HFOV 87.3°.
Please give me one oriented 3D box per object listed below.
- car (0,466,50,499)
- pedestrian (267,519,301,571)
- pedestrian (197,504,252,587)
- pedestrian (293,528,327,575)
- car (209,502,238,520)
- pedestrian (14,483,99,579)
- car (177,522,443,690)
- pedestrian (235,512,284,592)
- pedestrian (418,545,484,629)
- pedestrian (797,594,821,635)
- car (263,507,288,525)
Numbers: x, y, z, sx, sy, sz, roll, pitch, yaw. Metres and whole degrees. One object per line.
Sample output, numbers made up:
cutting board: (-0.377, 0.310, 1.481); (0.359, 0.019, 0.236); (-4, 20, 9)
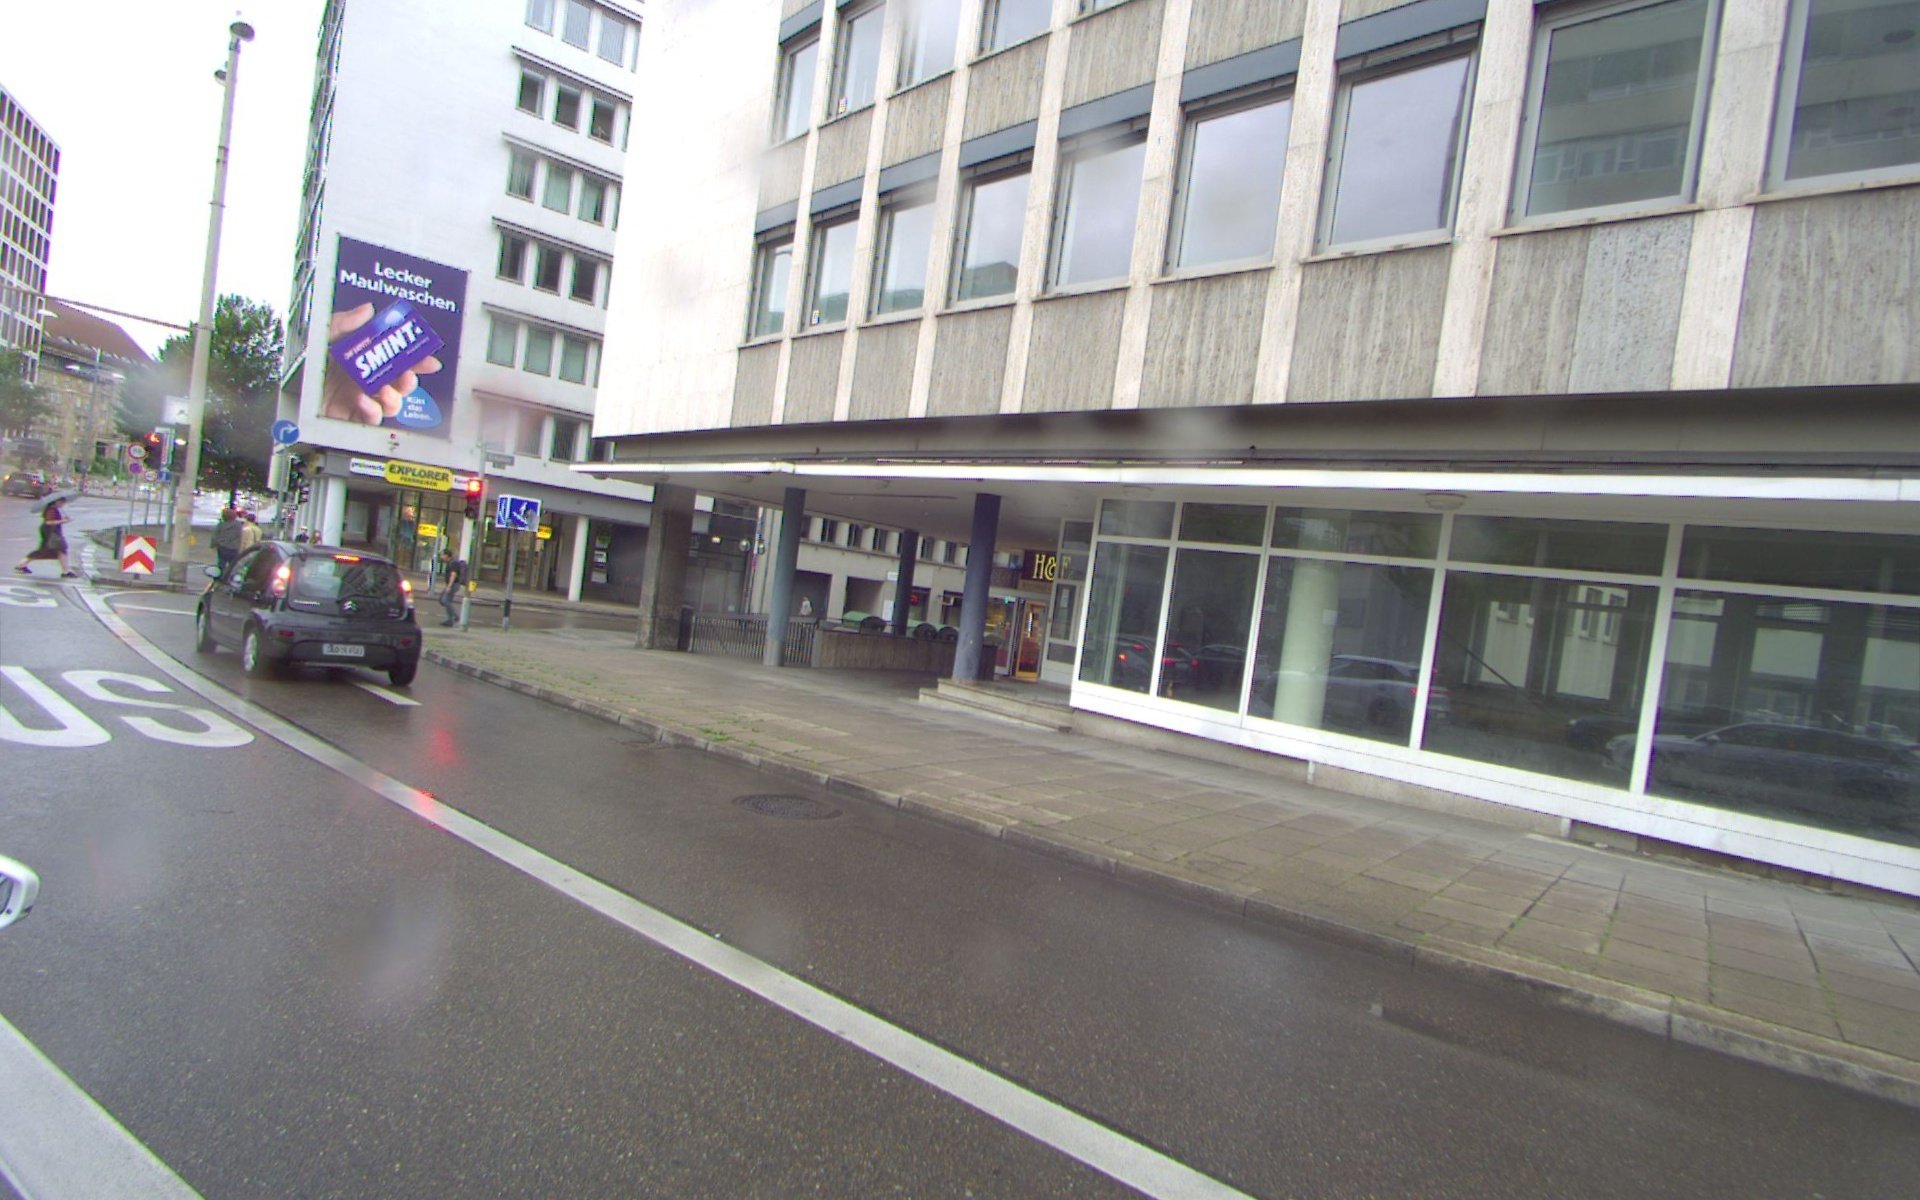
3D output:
car: (-58.658, -7.317, 63.090); (1.986, 1.570, 3.956); (9, -2, -39)
pedestrian: (-23.241, -1.883, 34.600); (0.725, 1.688, 0.682); (7, 0, -43)
pedestrian: (-17.386, -1.281, 23.779); (0.810, 1.820, 0.702); (7, 0, -43)
pedestrian: (-22.666, -1.688, 35.080); (0.725, 1.542, 0.751); (7, -1, -43)
car: (-81.092, -9.809, 110.777); (1.896, 1.527, 4.324); (9, -2, -29)
pedestrian: (-18.143, -1.368, 20.213); (0.717, 1.759, 0.924); (7, 0, 27)
car: (-7.668, 0.029, 11.753); (3.435, 1.490, 1.660); (7, -1, 42)
pedestrian: (-16.968, -1.157, 24.377); (0.725, 1.820, 0.730); (7, 1, -43)
pedestrian: (-11.686, -0.291, 23.142); (1.002, 1.776, 0.793); (7, -1, -14)
pedestrian: (-7.189, 0.693, 47.898); (0.677, 1.820, 0.722); (7, 0, -37)
car: (-84.752, -10.369, 124.642); (2.032, 1.786, 4.324); (9, -2, -29)
